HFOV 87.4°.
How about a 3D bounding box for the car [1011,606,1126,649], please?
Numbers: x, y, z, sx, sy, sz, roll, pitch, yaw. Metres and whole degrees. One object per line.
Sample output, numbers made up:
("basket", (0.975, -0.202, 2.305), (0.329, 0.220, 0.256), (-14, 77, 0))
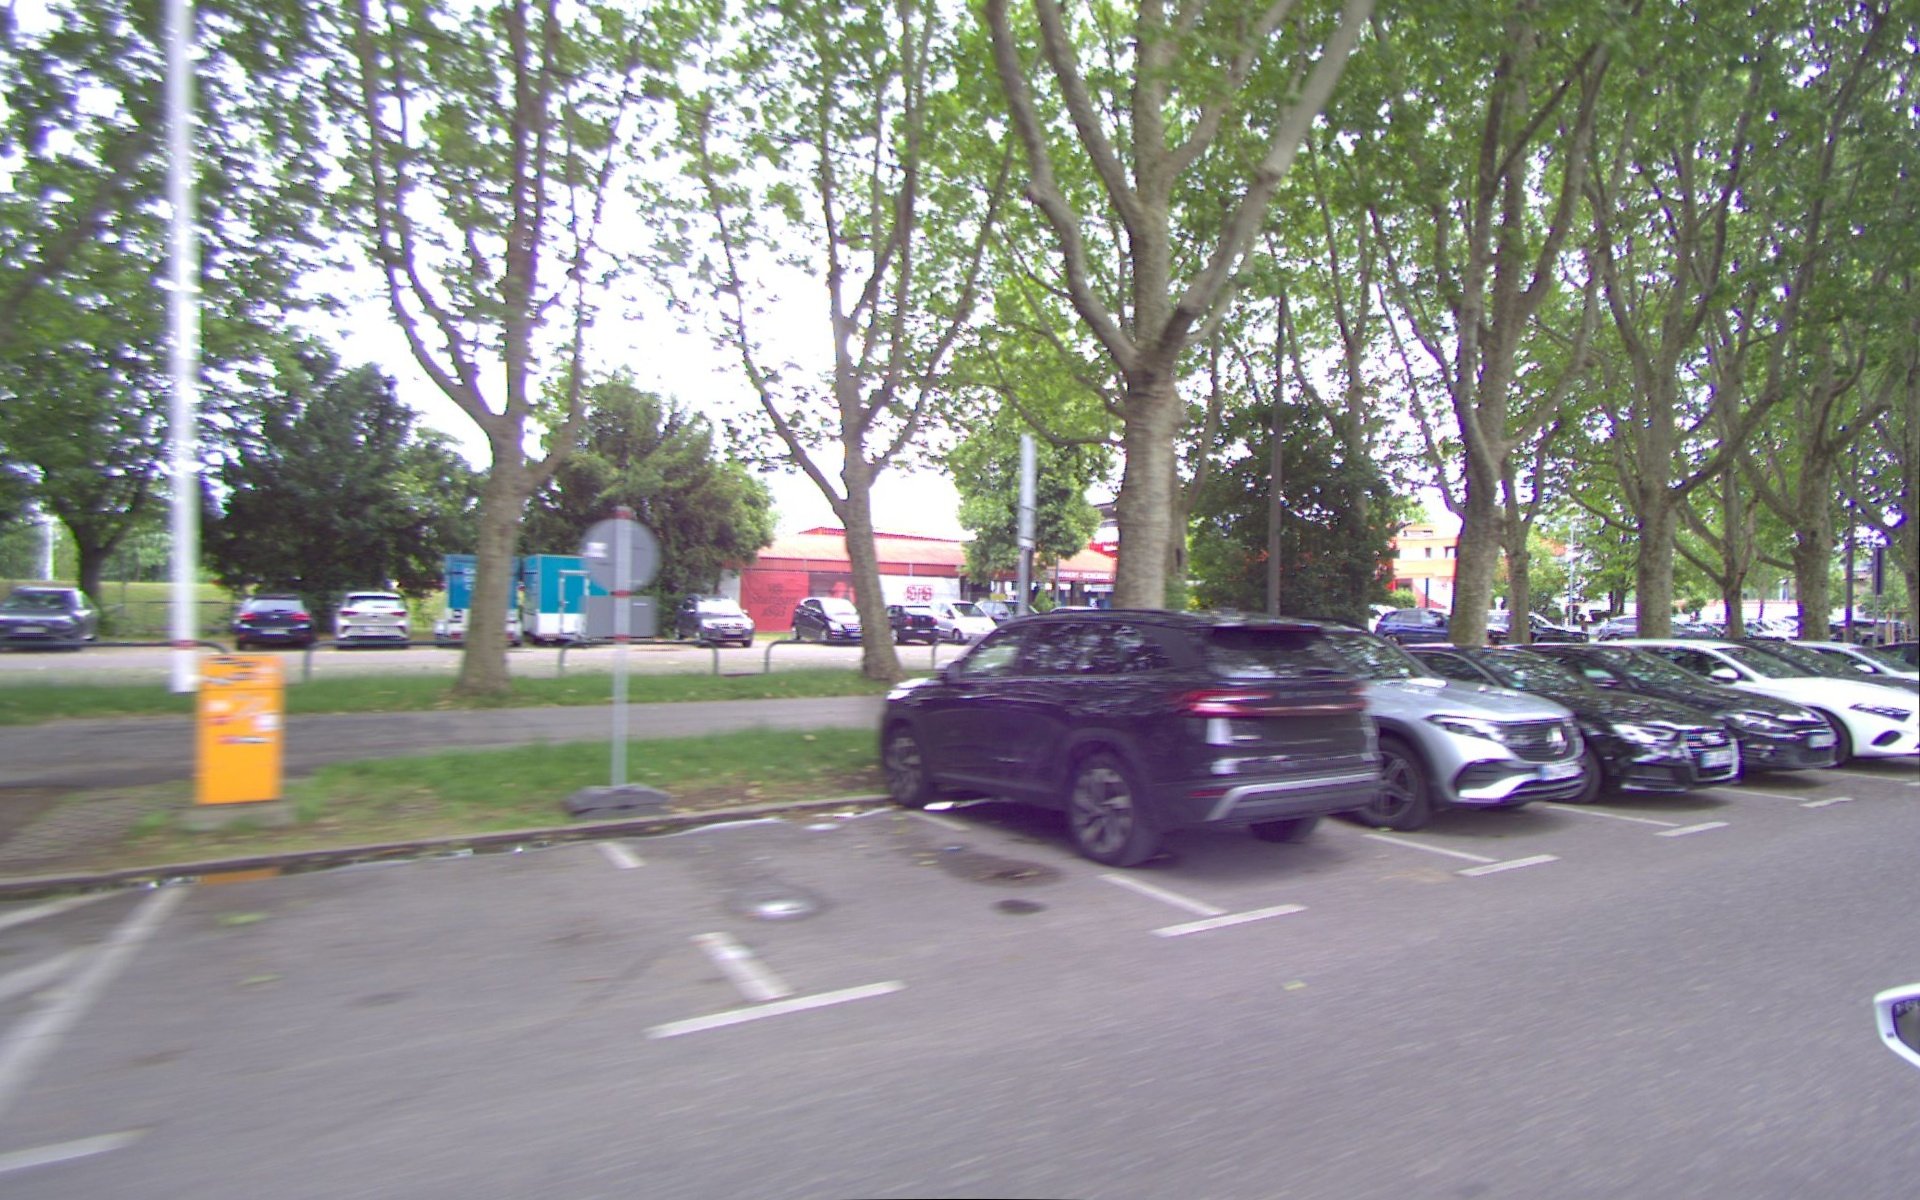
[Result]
("car", (4.367, 1.104, 41.145), (2.158, 1.541, 4.916), (2, 0, -31))

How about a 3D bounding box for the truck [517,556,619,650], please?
("truck", (-12.536, 0.098, 31.999), (2.350, 2.753, 3.966), (2, 0, -31))

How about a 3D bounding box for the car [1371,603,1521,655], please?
("car", (17.404, 1.078, 36.205), (1.978, 1.743, 4.528), (1, -3, -32))

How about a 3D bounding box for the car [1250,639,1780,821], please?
("car", (5.407, 1.126, 10.402), (2.026, 1.413, 4.382), (1, -2, -33))

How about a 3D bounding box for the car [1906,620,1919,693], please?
("car", (24.110, 1.376, 22.422), (1.833, 1.704, 3.969), (2, 0, -29))

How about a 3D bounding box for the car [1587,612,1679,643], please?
("car", (44.546, 1.802, 66.583), (2.265, 1.880, 4.565), (2, 0, -25))

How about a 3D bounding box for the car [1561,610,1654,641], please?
("car", (42.211, 1.650, 65.575), (2.265, 1.880, 4.565), (2, 0, -25))

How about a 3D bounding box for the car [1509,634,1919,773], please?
("car", (9.680, 1.165, 12.857), (1.756, 1.443, 4.385), (1, -2, -31))

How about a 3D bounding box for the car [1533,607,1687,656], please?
("car", (26.927, 1.290, 41.765), (2.159, 1.821, 4.913), (2, 0, -32))

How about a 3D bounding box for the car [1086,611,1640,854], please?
("car", (3.356, 0.979, 9.253), (2.026, 1.647, 4.382), (1, -2, -33))

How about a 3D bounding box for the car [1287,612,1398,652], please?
("car", (19.149, 1.580, 50.477), (2.159, 1.821, 4.913), (2, 0, -32))

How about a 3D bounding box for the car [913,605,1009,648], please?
("car", (-0.014, 0.975, 38.363), (1.967, 1.468, 3.968), (1, 0, -30))

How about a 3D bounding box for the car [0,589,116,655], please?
("car", (-22.609, 0.504, 25.169), (1.782, 1.507, 3.962), (2, 0, -34))

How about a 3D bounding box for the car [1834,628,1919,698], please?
("car", (21.791, 1.418, 21.723), (1.833, 1.472, 3.969), (2, 0, -29))

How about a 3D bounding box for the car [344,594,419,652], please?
("car", (-16.505, 0.618, 28.605), (1.714, 1.527, 3.966), (2, 0, -31))

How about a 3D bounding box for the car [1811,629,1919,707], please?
("car", (19.844, 1.395, 20.051), (1.833, 1.472, 3.969), (2, 0, -29))

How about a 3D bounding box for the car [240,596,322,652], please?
("car", (-18.672, 0.633, 27.677), (1.712, 1.395, 3.978), (2, 0, -34))

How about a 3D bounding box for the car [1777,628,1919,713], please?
("car", (18.031, 1.334, 18.719), (1.833, 1.472, 3.969), (2, 0, -29))

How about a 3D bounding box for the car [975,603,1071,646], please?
("car", (2.423, 0.938, 39.698), (1.915, 1.530, 3.968), (1, 0, -30))

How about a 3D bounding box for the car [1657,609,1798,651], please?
("car", (36.519, 1.407, 47.919), (2.159, 1.821, 4.913), (2, 0, -32))

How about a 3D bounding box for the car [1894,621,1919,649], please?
("car", (61.838, 2.241, 63.042), (2.107, 1.732, 4.299), (2, 0, -31))

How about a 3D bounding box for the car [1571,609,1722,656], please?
("car", (29.334, 1.341, 43.063), (2.159, 1.821, 4.914), (1, -1, -32))

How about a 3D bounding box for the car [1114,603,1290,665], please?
("car", (7.230, 0.978, 30.620), (2.071, 1.617, 5.321), (2, 0, -31))

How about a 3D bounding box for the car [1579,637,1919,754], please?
("car", (11.737, 1.260, 14.585), (1.762, 1.436, 4.389), (1, -2, -29))

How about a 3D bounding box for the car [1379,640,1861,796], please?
("car", (7.340, 1.189, 11.684), (1.705, 1.413, 4.384), (1, -2, -32))

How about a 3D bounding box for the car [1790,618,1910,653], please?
("car", (49.455, 1.966, 55.915), (2.270, 1.748, 4.528), (2, 0, -31))

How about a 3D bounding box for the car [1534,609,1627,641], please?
("car", (39.768, 1.570, 64.469), (2.265, 1.880, 4.565), (2, 0, -25))

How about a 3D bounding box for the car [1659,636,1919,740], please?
("car", (13.974, 1.317, 15.867), (2.024, 1.463, 4.385), (1, -2, -31))

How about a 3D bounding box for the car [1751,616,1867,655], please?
("car", (44.970, 1.862, 53.283), (2.005, 1.885, 4.299), (2, 0, -31))

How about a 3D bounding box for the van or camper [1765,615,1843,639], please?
("van or camper", (67.573, 2.159, 80.484), (2.107, 1.732, 4.299), (2, 0, -31))

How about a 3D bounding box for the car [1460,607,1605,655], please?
("car", (22.124, 1.230, 39.010), (1.978, 1.743, 4.528), (1, -3, -32))

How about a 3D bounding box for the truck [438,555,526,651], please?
("truck", (-14.372, 0.090, 30.074), (2.097, 2.643, 3.969), (2, 0, -29))

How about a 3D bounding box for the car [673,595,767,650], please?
("car", (-8.034, 0.726, 33.390), (1.967, 1.684, 3.968), (2, 0, -30))

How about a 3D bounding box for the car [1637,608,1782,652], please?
("car", (34.502, 1.338, 46.397), (2.159, 1.821, 4.913), (2, 0, -32))

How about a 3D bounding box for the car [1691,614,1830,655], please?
("car", (39.022, 1.646, 49.083), (2.159, 1.821, 4.914), (1, -1, -32))

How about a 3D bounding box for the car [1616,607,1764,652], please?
("car", (32.558, 1.273, 44.952), (2.159, 1.821, 4.913), (2, 0, -32))

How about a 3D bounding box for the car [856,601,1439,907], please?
("car", (1.088, 0.906, 7.832), (2.026, 1.647, 4.382), (1, -2, -33))

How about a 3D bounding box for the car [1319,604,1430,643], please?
("car", (21.235, 1.166, 51.649), (2.159, 1.821, 4.913), (2, 0, -32))

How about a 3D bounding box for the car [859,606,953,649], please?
("car", (-2.061, 0.970, 37.094), (1.878, 1.415, 3.968), (1, 1, -30))

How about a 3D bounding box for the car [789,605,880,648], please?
("car", (-4.570, 0.911, 36.047), (1.878, 1.415, 3.968), (1, 0, -30))
